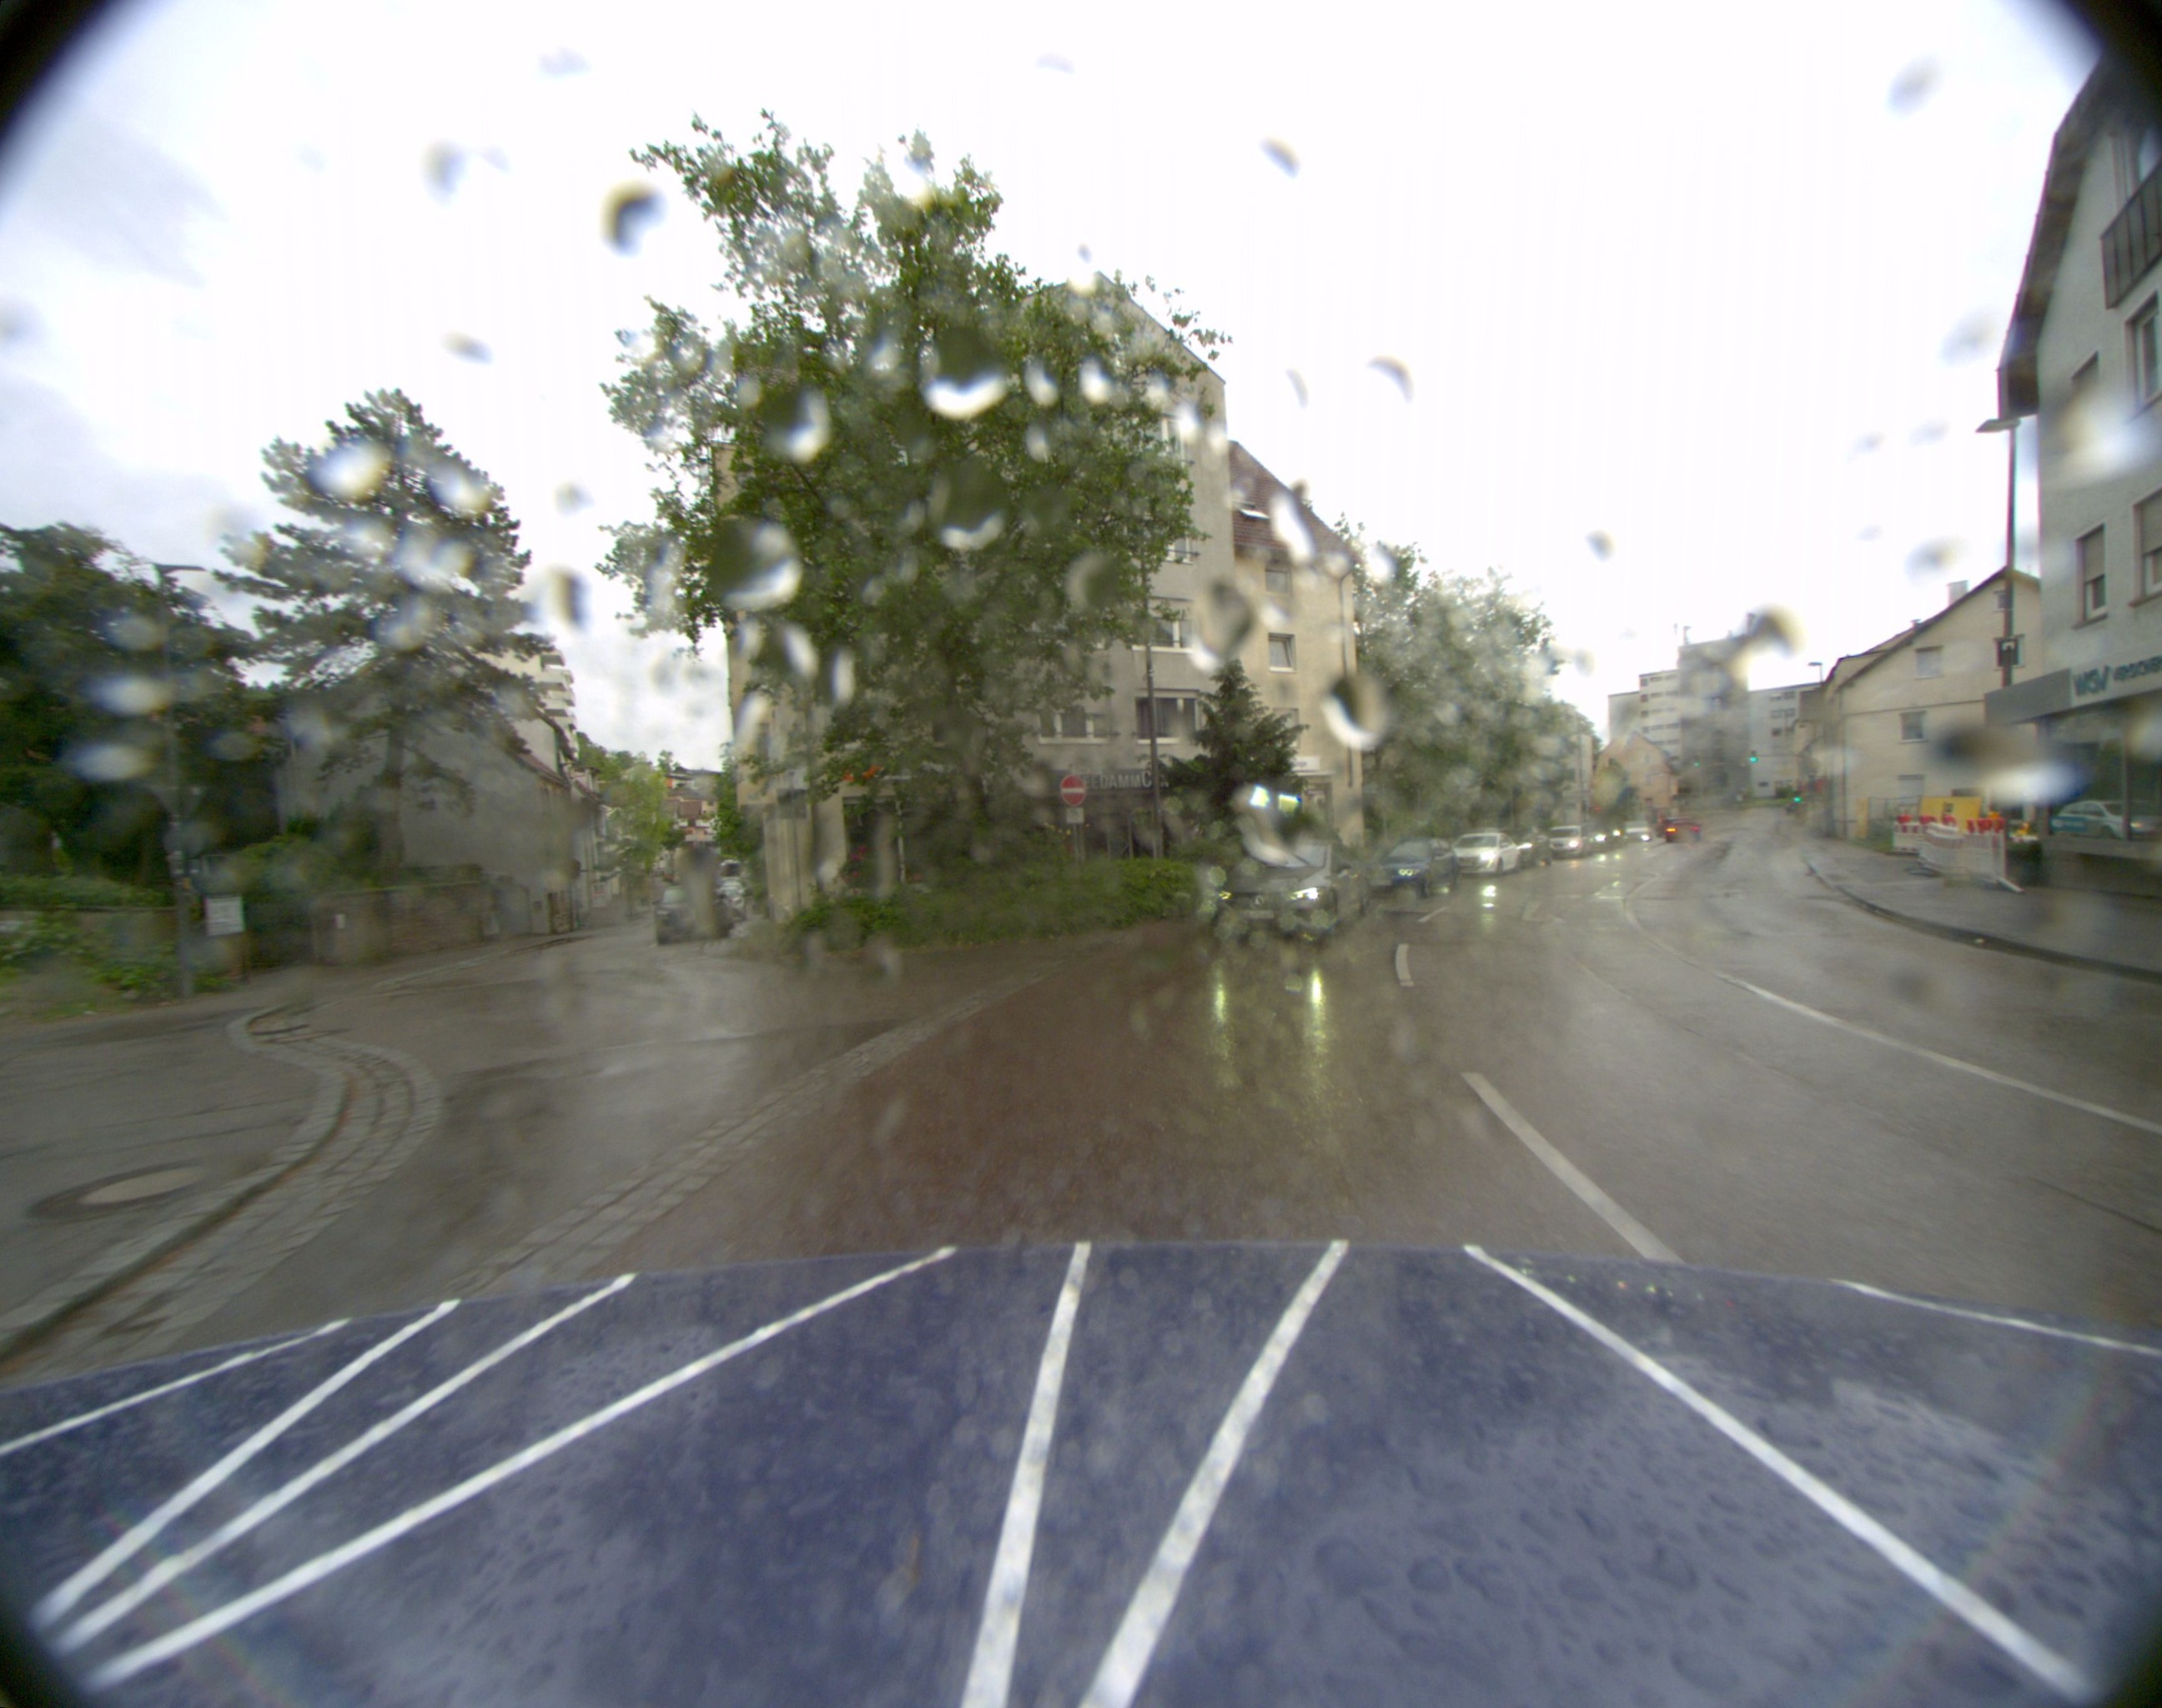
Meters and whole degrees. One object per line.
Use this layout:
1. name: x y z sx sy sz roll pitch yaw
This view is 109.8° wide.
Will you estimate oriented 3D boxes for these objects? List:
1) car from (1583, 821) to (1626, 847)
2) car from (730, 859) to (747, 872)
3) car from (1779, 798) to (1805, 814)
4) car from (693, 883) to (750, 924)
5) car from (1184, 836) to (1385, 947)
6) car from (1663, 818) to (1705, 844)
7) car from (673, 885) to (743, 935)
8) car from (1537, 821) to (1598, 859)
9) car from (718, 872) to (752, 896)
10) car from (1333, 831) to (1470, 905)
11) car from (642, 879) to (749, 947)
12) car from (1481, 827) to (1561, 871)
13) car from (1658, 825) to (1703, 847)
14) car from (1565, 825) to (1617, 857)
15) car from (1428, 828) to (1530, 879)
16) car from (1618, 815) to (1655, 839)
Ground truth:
1. car: 32.993 -1.262 47.844 1.849 1.469 4.007 -2 1 39
2. car: -49.300 1.675 109.403 2.002 1.564 3.993 -3 -1 -26
3. car: 88.832 -6.017 94.929 3.801 1.701 1.825 -5 2 -39
4. car: -15.670 2.114 33.258 2.002 1.564 3.993 -3 -1 -23
5. car: 3.687 0.520 13.142 1.995 1.484 4.321 -2 1 34
6. car: 39.529 -1.508 49.783 1.810 1.556 4.008 -4 -1 42
7. car: -13.607 1.985 27.943 2.002 1.564 3.993 -3 -1 -23
8. car: 23.468 -0.716 36.599 1.841 1.612 4.007 -2 1 41
9. car: -24.879 2.190 54.751 2.002 1.564 3.994 -3 -1 -23
10. car: 8.091 0.283 18.939 1.770 1.524 4.385 -2 1 42
11. car: -11.181 1.648 22.334 2.001 1.641 3.995 -5 -1 -16
12. car: 17.629 -0.222 30.375 1.810 1.556 4.008 -4 -1 43
13. car: 48.473 -1.481 61.500 1.995 1.587 4.005 -3 2 25
14. car: 28.222 -0.723 42.022 1.828 1.543 4.007 -4 0 41
15. car: 13.496 -0.042 25.649 1.995 1.445 4.007 -3 1 43
16. car: 40.256 -1.940 55.040 1.995 1.542 4.008 -4 -1 37
